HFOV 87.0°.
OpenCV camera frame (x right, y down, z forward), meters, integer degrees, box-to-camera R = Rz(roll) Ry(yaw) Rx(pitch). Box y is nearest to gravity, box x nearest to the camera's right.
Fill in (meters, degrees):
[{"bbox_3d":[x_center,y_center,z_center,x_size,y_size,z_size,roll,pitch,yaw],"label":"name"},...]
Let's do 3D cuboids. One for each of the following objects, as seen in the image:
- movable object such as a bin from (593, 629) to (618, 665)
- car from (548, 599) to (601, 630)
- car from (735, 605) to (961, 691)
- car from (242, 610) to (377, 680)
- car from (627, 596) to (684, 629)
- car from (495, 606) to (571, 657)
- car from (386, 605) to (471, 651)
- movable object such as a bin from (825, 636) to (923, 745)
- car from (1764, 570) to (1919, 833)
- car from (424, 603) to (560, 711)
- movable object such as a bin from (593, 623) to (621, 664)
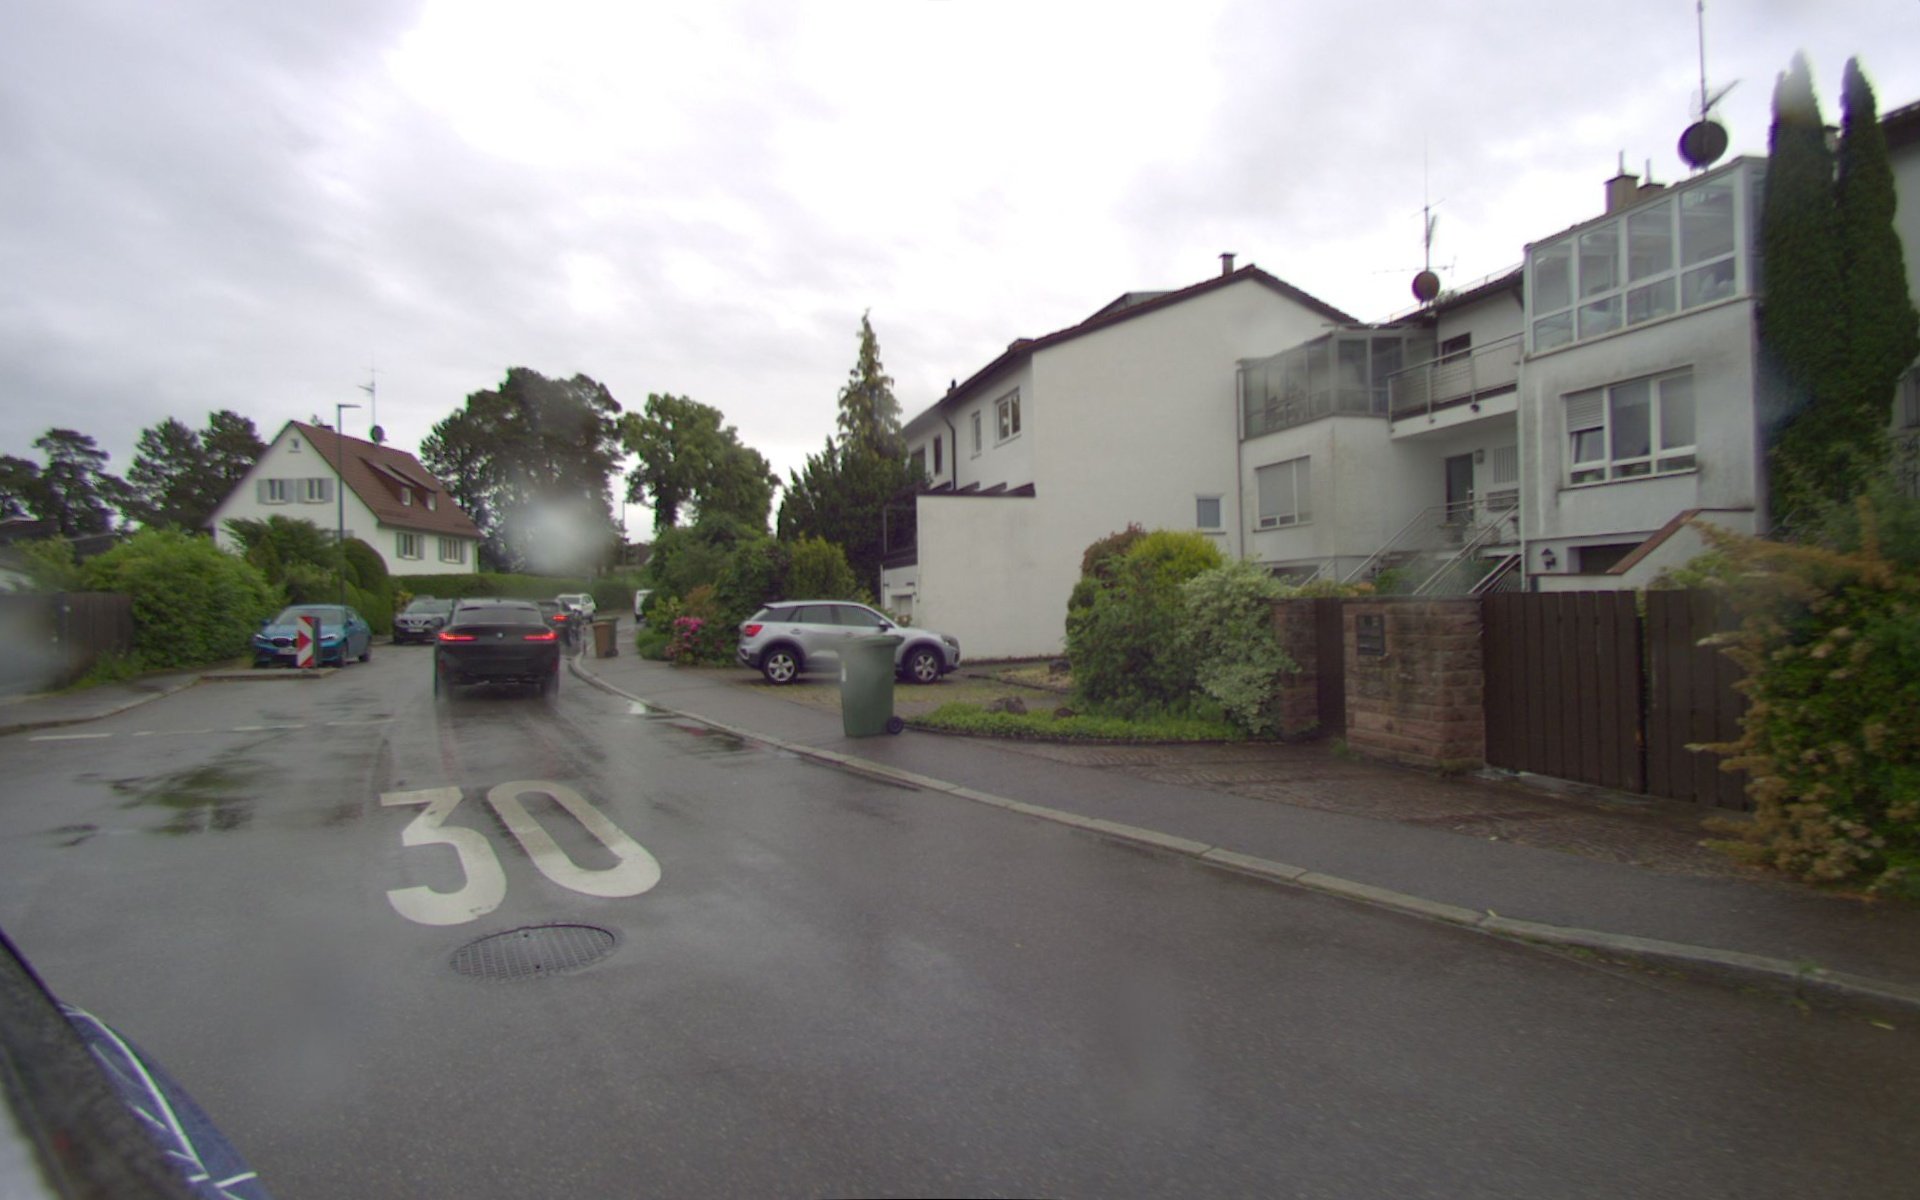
[{"bbox_3d":[-9.360,1.234,26.726,0.571,0.946,0.505,1,-2,-17],"label":"movable object such as a bin"},{"bbox_3d":[-21.591,0.784,56.880,1.641,1.651,4.220,-1,0,-4],"label":"car"},{"bbox_3d":[-2.111,0.866,18.726,3.933,1.451,1.773,1,0,-13],"label":"car"},{"bbox_3d":[-15.379,0.996,24.147,1.770,1.480,4.229,-1,0,-19],"label":"car"},{"bbox_3d":[-18.035,0.719,60.141,1.761,1.879,4.207,0,0,6],"label":"car"},{"bbox_3d":[-14.615,1.040,34.823,1.764,1.606,4.227,-1,0,-14],"label":"car"},{"bbox_3d":[-19.279,0.976,36.897,1.875,1.553,4.228,-1,0,-16],"label":"car"},{"bbox_3d":[-0.926,0.947,10.866,0.834,1.076,0.624,-3,-1,-25],"label":"movable object such as a bin"},{"bbox_3d":[8.867,0.720,8.230,3.622,1.964,1.744,-1,-1,-15],"label":"car"},{"bbox_3d":[-8.165,0.882,17.589,1.902,1.617,4.357,0,-1,-26],"label":"car"},{"bbox_3d":[-9.485,1.171,27.186,0.682,1.100,0.421,1,-2,-17],"label":"movable object such as a bin"}]
